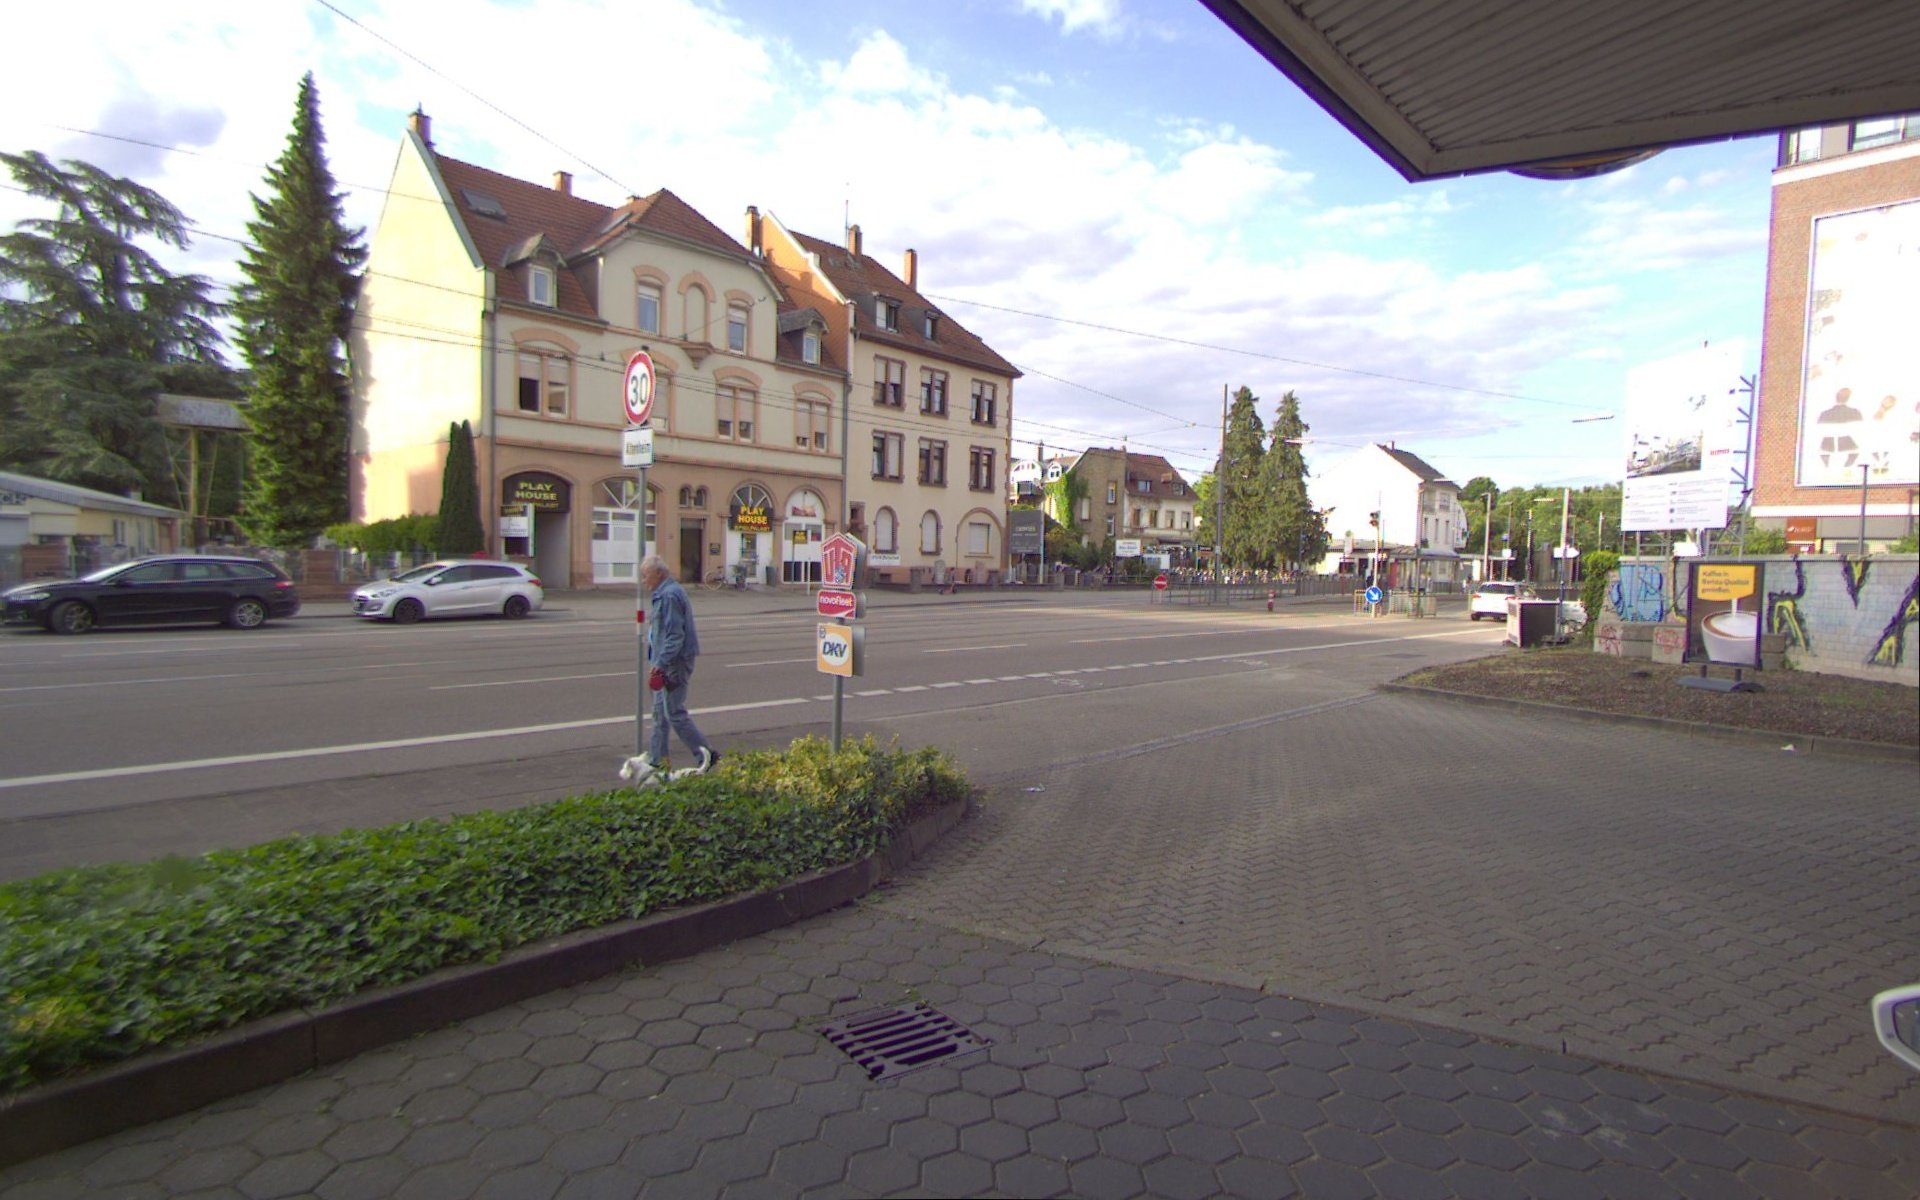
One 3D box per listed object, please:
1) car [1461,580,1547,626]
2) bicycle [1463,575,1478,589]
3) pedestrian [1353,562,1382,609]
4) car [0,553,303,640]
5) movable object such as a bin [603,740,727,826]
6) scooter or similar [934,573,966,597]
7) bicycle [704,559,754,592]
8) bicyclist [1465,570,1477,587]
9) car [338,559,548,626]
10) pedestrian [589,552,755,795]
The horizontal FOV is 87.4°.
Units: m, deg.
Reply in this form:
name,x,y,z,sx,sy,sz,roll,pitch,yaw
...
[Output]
name,x,y,z,sx,sy,sz,roll,pitch,yaw
car,20.337,0.071,37.487,1.735,1.497,3.975,6,5,44
bicycle,46.473,-1.648,91.441,0.671,1.239,1.908,2,2,42
pedestrian,18.069,-0.637,44.556,0.837,2.040,0.806,2,0,-16
car,-16.601,-0.138,20.726,1.983,1.520,4.755,4,4,39
movable object such as a bin,-1.928,1.178,6.568,0.672,0.426,0.477,1,0,-33
scooter or similar,-0.436,-0.665,45.103,0.461,1.041,1.655,4,3,40
bicycle,-9.107,-0.956,39.602,0.665,1.229,1.862,4,2,41
bicyclist,46.482,-1.994,91.431,0.671,1.555,1.079,2,2,43
car,-12.920,-0.234,25.348,1.699,1.503,4.434,4,4,40
pedestrian,-2.214,0.515,7.671,0.960,1.690,0.995,1,0,-32
